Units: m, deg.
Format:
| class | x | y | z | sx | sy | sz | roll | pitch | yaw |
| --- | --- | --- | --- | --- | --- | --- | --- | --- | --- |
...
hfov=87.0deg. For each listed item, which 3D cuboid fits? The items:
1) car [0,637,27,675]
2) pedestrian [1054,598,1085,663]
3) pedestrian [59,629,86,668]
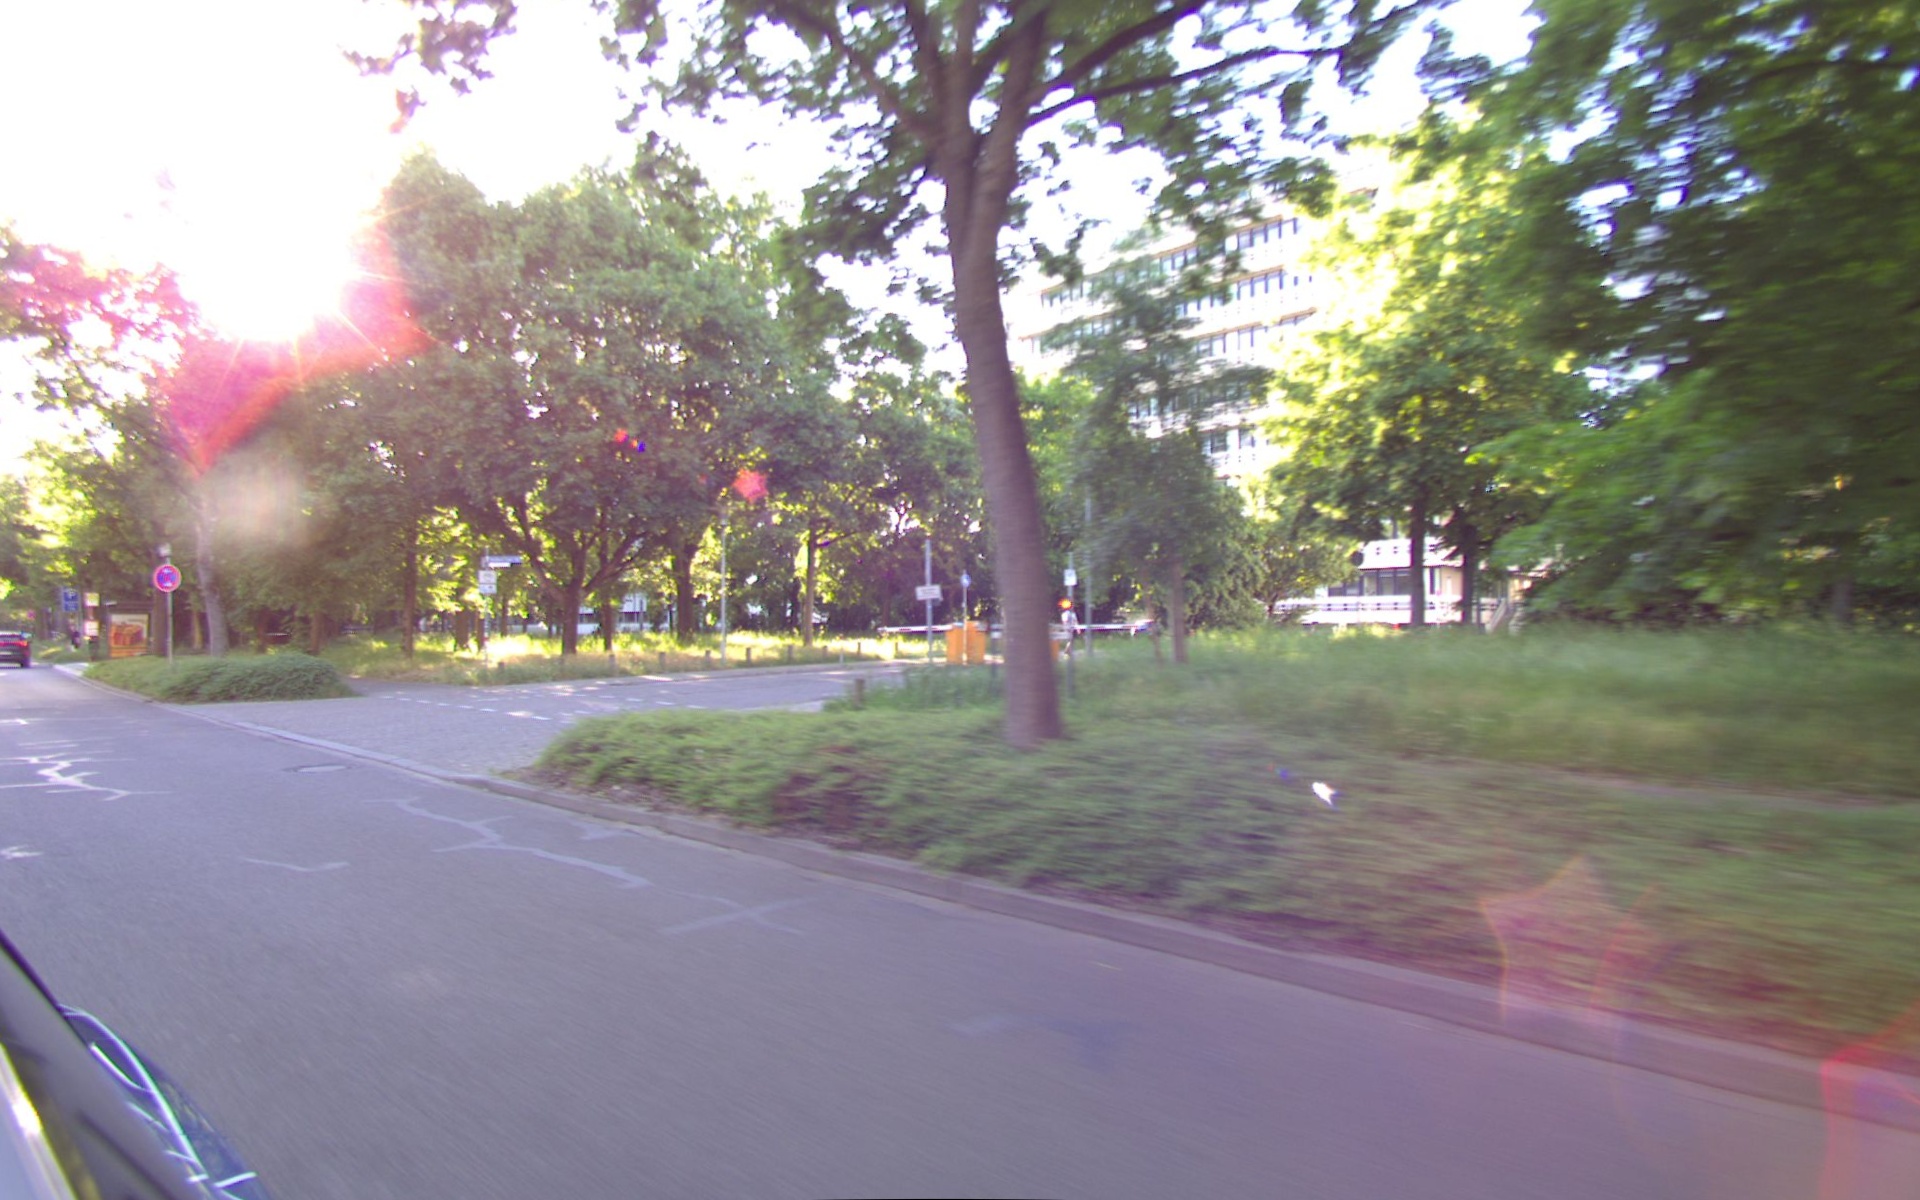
| class | x | y | z | sx | sy | sz | roll | pitch | yaw |
| --- | --- | --- | --- | --- | --- | --- | --- | --- | --- |
| car | -41.692 | 2.390 | 43.756 | 1.822 | 1.591 | 4.338 | 3 | -4 | -44 |
| pedestrian | 3.437 | 0.948 | 31.721 | 0.590 | 2.029 | 0.748 | -2 | -1 | 44 |
| pedestrian | -43.046 | 2.331 | 49.078 | 0.720 | 1.835 | 0.893 | -3 | -2 | 42 |
